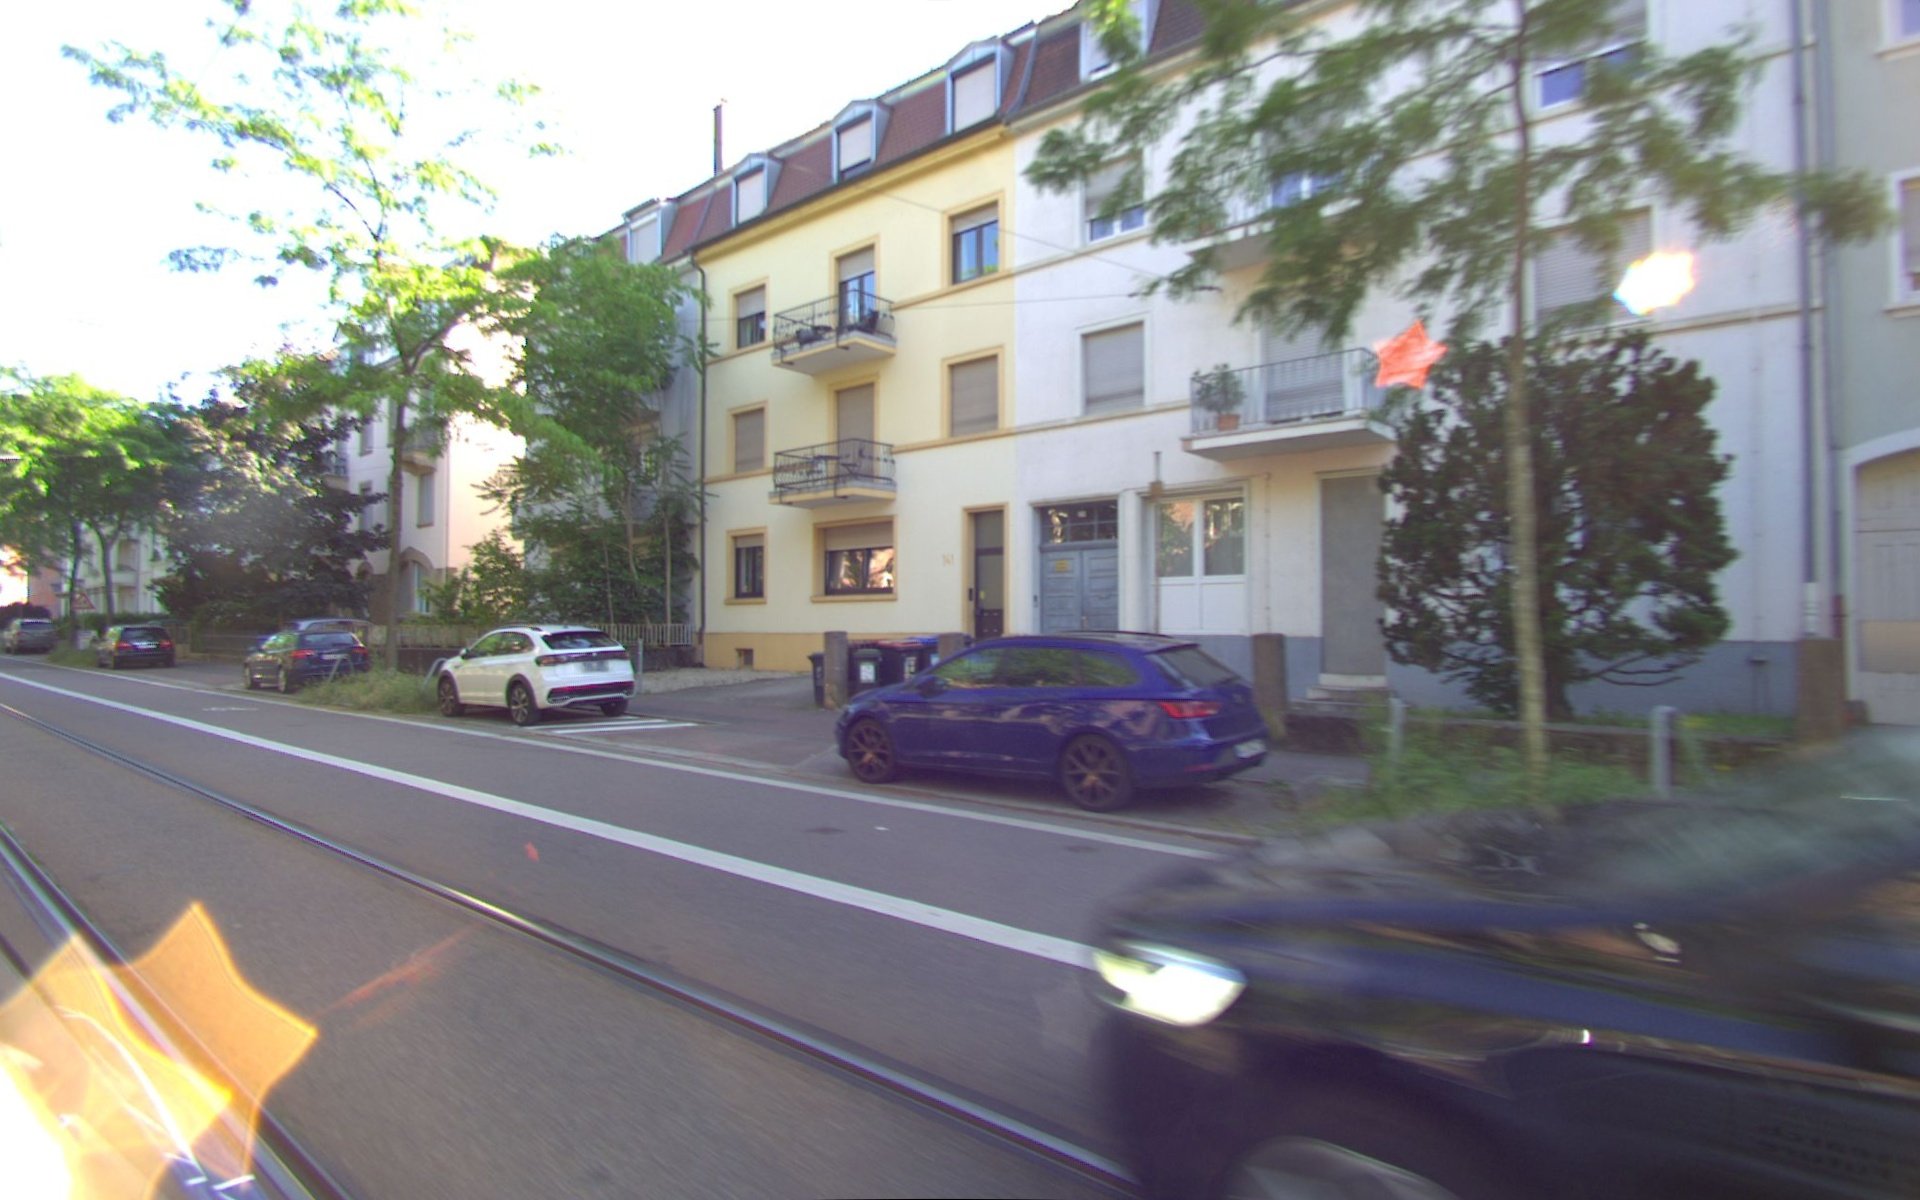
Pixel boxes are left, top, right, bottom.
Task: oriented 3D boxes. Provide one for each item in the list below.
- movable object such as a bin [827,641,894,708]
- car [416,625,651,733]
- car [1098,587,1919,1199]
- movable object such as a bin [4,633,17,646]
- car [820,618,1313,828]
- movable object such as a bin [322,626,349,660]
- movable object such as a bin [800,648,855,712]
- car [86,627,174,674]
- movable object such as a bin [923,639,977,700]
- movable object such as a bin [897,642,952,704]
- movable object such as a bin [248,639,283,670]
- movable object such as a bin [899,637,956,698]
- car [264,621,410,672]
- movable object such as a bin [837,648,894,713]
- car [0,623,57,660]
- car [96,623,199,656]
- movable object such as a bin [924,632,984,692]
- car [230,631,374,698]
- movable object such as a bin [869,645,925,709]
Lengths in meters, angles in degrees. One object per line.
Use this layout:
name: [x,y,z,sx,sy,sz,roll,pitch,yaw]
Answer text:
movable object such as a bin: [-1.701,1.249,17.297,0.733,1.054,0.835,-2,0,44]
car: [-7.144,1.208,16.757,4.367,1.522,1.799,-2,-1,40]
car: [2.561,0.698,1.239,4.519,1.450,1.740,-1,-2,40]
movable object such as a bin: [-81.497,3.375,86.849,0.895,1.049,0.730,-2,-2,41]
car: [0.824,0.964,9.587,4.435,1.522,1.740,-2,-1,40]
movable object such as a bin: [-19.511,1.338,31.626,0.670,1.074,0.535,-2,-2,41]
movable object such as a bin: [-2.198,1.310,16.777,0.733,0.983,0.553,-2,0,44]
car: [-30.157,1.786,36.741,4.483,1.553,1.758,-2,-1,41]
movable object such as a bin: [-0.174,1.190,17.507,0.733,0.983,0.553,-2,0,44]
movable object such as a bin: [-0.605,1.219,17.089,0.733,0.983,0.553,-2,0,44]
movable object such as a bin: [-25.266,1.972,36.836,0.813,1.074,0.866,-2,-2,41]
movable object such as a bin: [-0.593,1.211,18.444,0.733,1.054,0.700,-2,0,44]
car: [-22.464,1.631,36.603,1.981,1.671,4.124,-1,-1,39]
movable object such as a bin: [-1.517,1.273,16.210,0.733,0.983,0.553,-2,0,44]
car: [-49.466,2.183,53.497,4.766,1.837,1.852,-1,-1,39]
car: [-45.334,2.189,56.539,1.952,1.673,4.254,-2,-1,42]
movable object such as a bin: [-0.117,1.149,18.934,0.733,1.054,0.835,-2,0,44]
car: [-15.689,1.470,24.048,4.330,1.417,1.688,-2,-1,40]
movable object such as a bin: [-1.034,1.252,16.638,0.733,0.983,0.553,-2,0,44]
